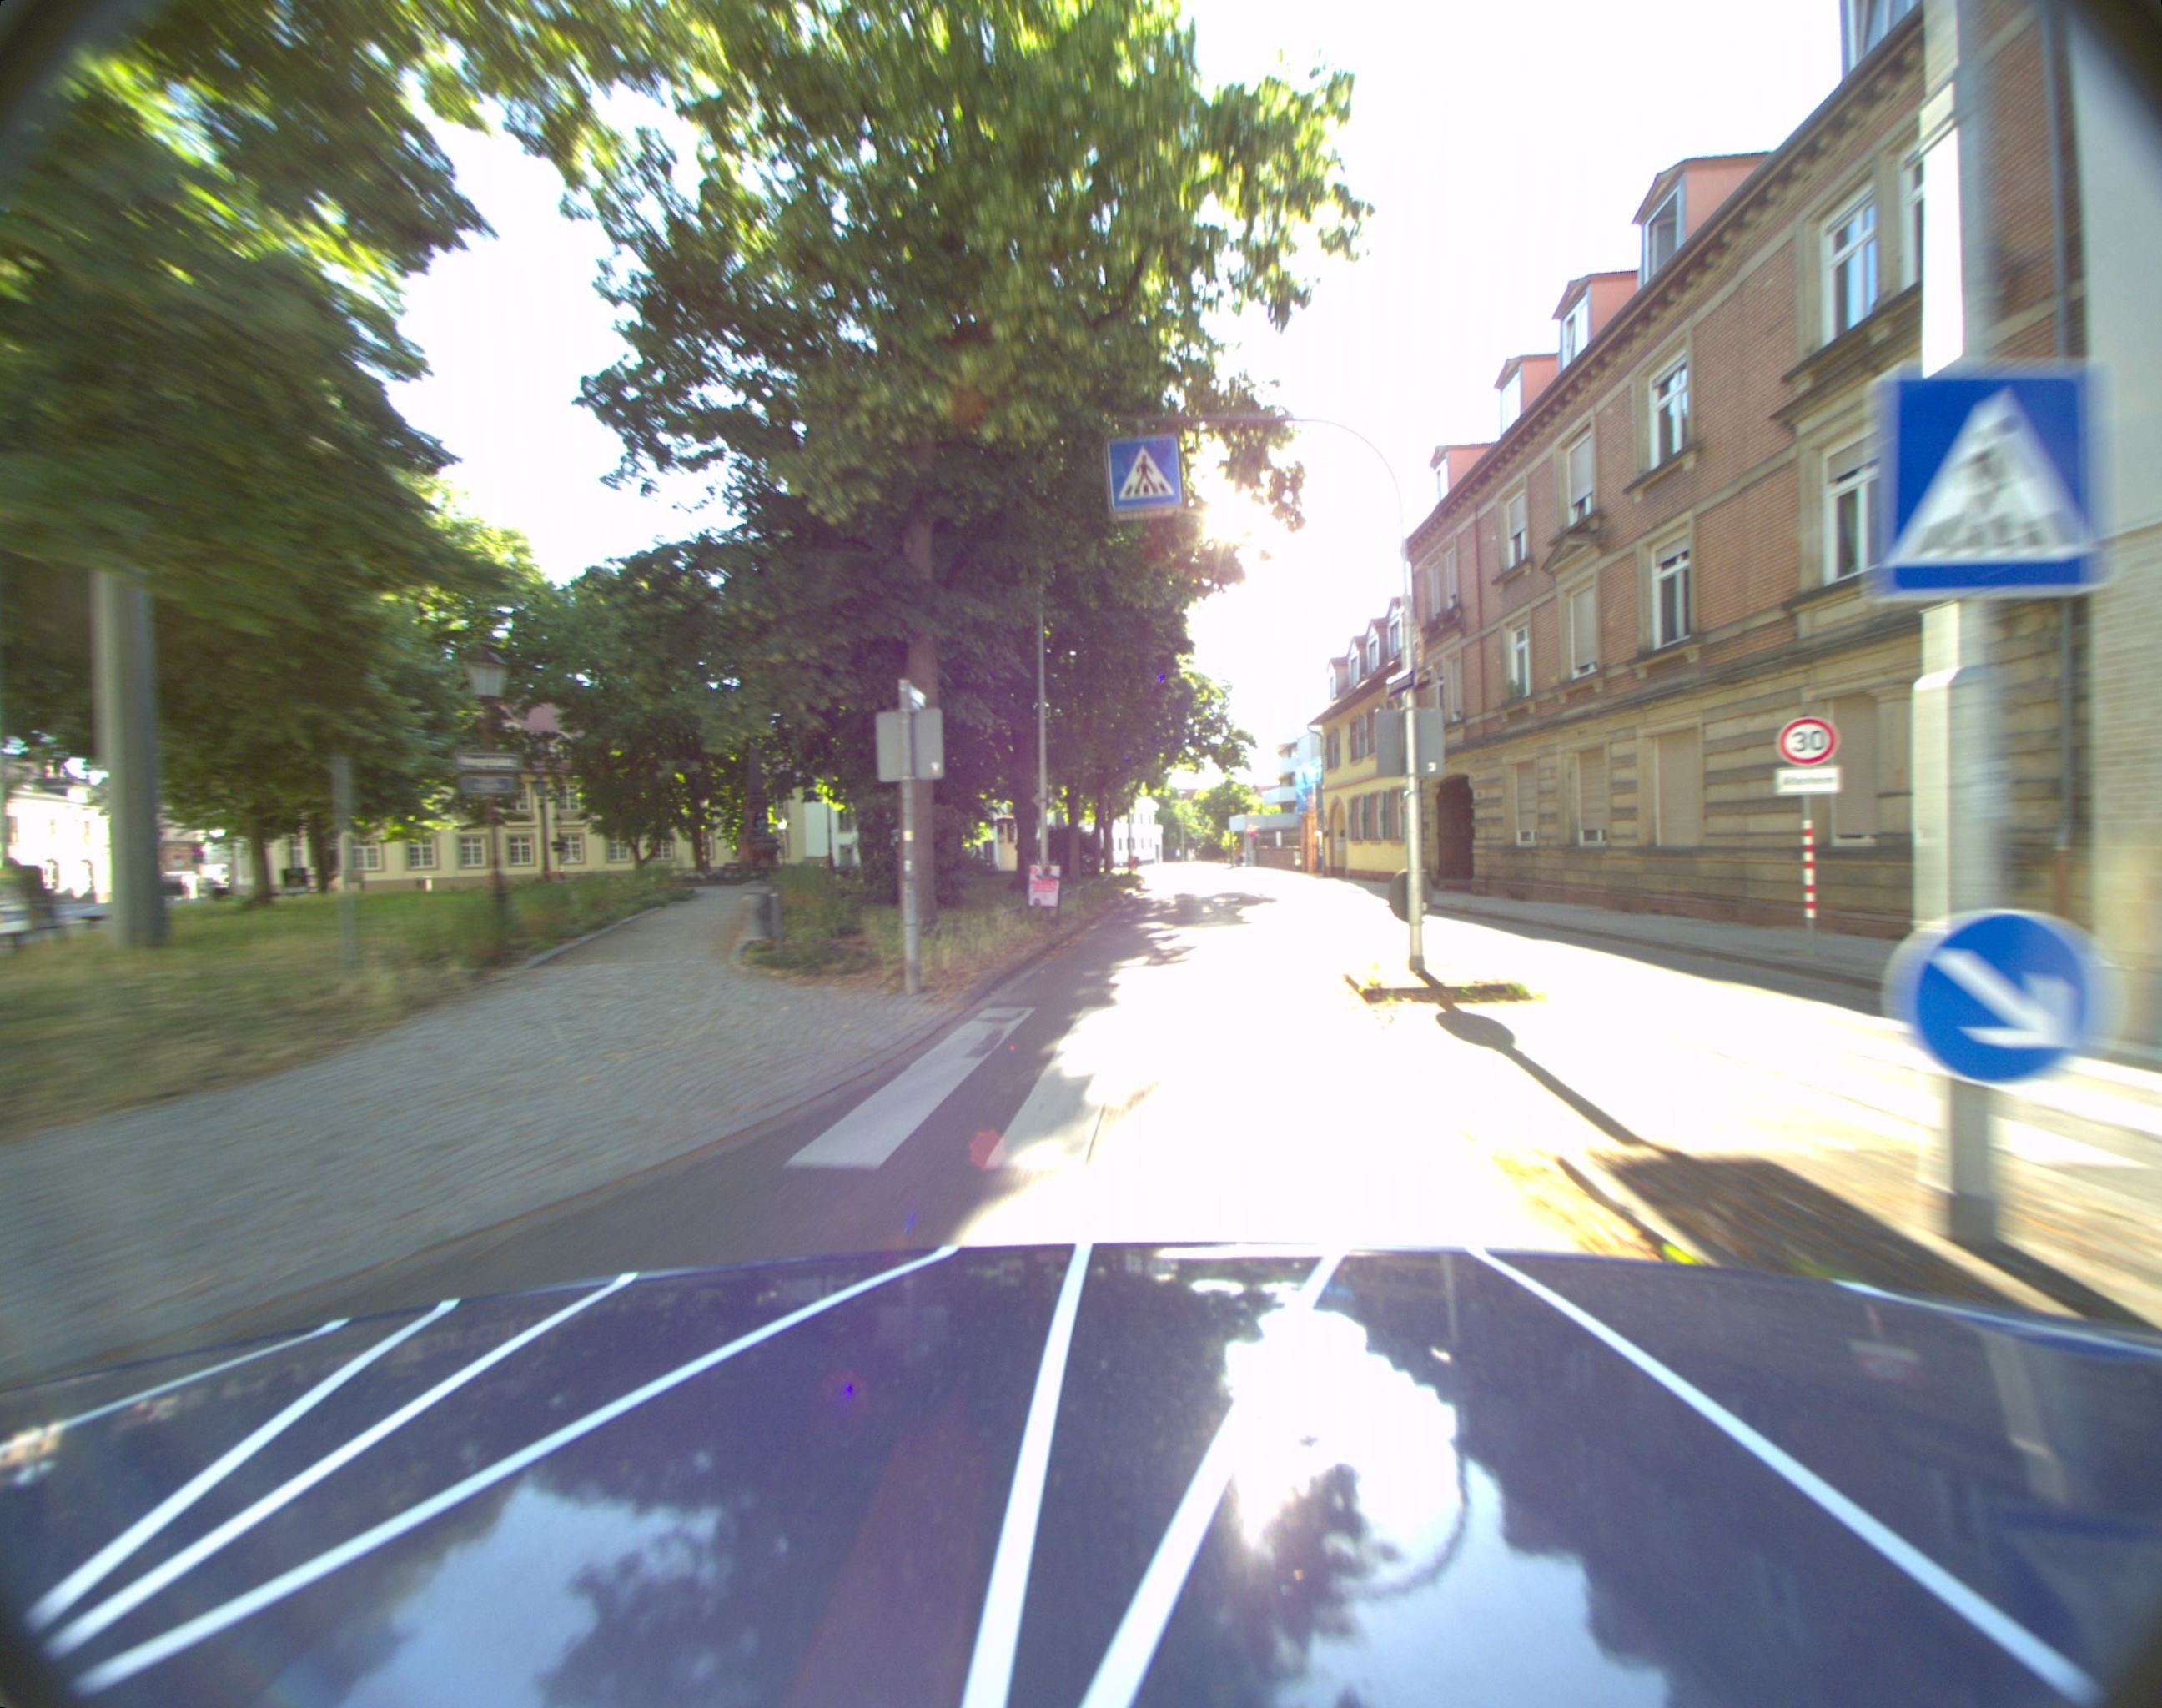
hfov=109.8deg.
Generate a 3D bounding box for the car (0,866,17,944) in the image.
[{"bbox_3d":[-24.963,1.228,15.906,2.003,1.784,3.989,-5,3,-39],"label":"car"}]

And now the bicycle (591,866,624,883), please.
[{"bbox_3d":[-30.195,1.283,48.464,1.767,1.027,0.720,-2,1,-34],"label":"bicycle"}]

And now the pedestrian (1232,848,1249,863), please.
[{"bbox_3d":[13.984,0.167,66.698,1.155,1.222,0.842,-3,2,39],"label":"pedestrian"}]

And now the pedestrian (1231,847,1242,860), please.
[{"bbox_3d":[14.982,-0.013,73.345,0.742,1.179,0.840,-4,1,-3],"label":"pedestrian"}]

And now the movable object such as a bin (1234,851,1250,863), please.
[{"bbox_3d":[14.136,0.278,66.769,1.035,0.923,0.842,-3,1,39],"label":"movable object such as a bin"}]

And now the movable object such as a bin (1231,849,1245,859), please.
[{"bbox_3d":[15.155,0.007,73.344,1.037,0.923,0.840,-4,1,-3],"label":"movable object such as a bin"}]
